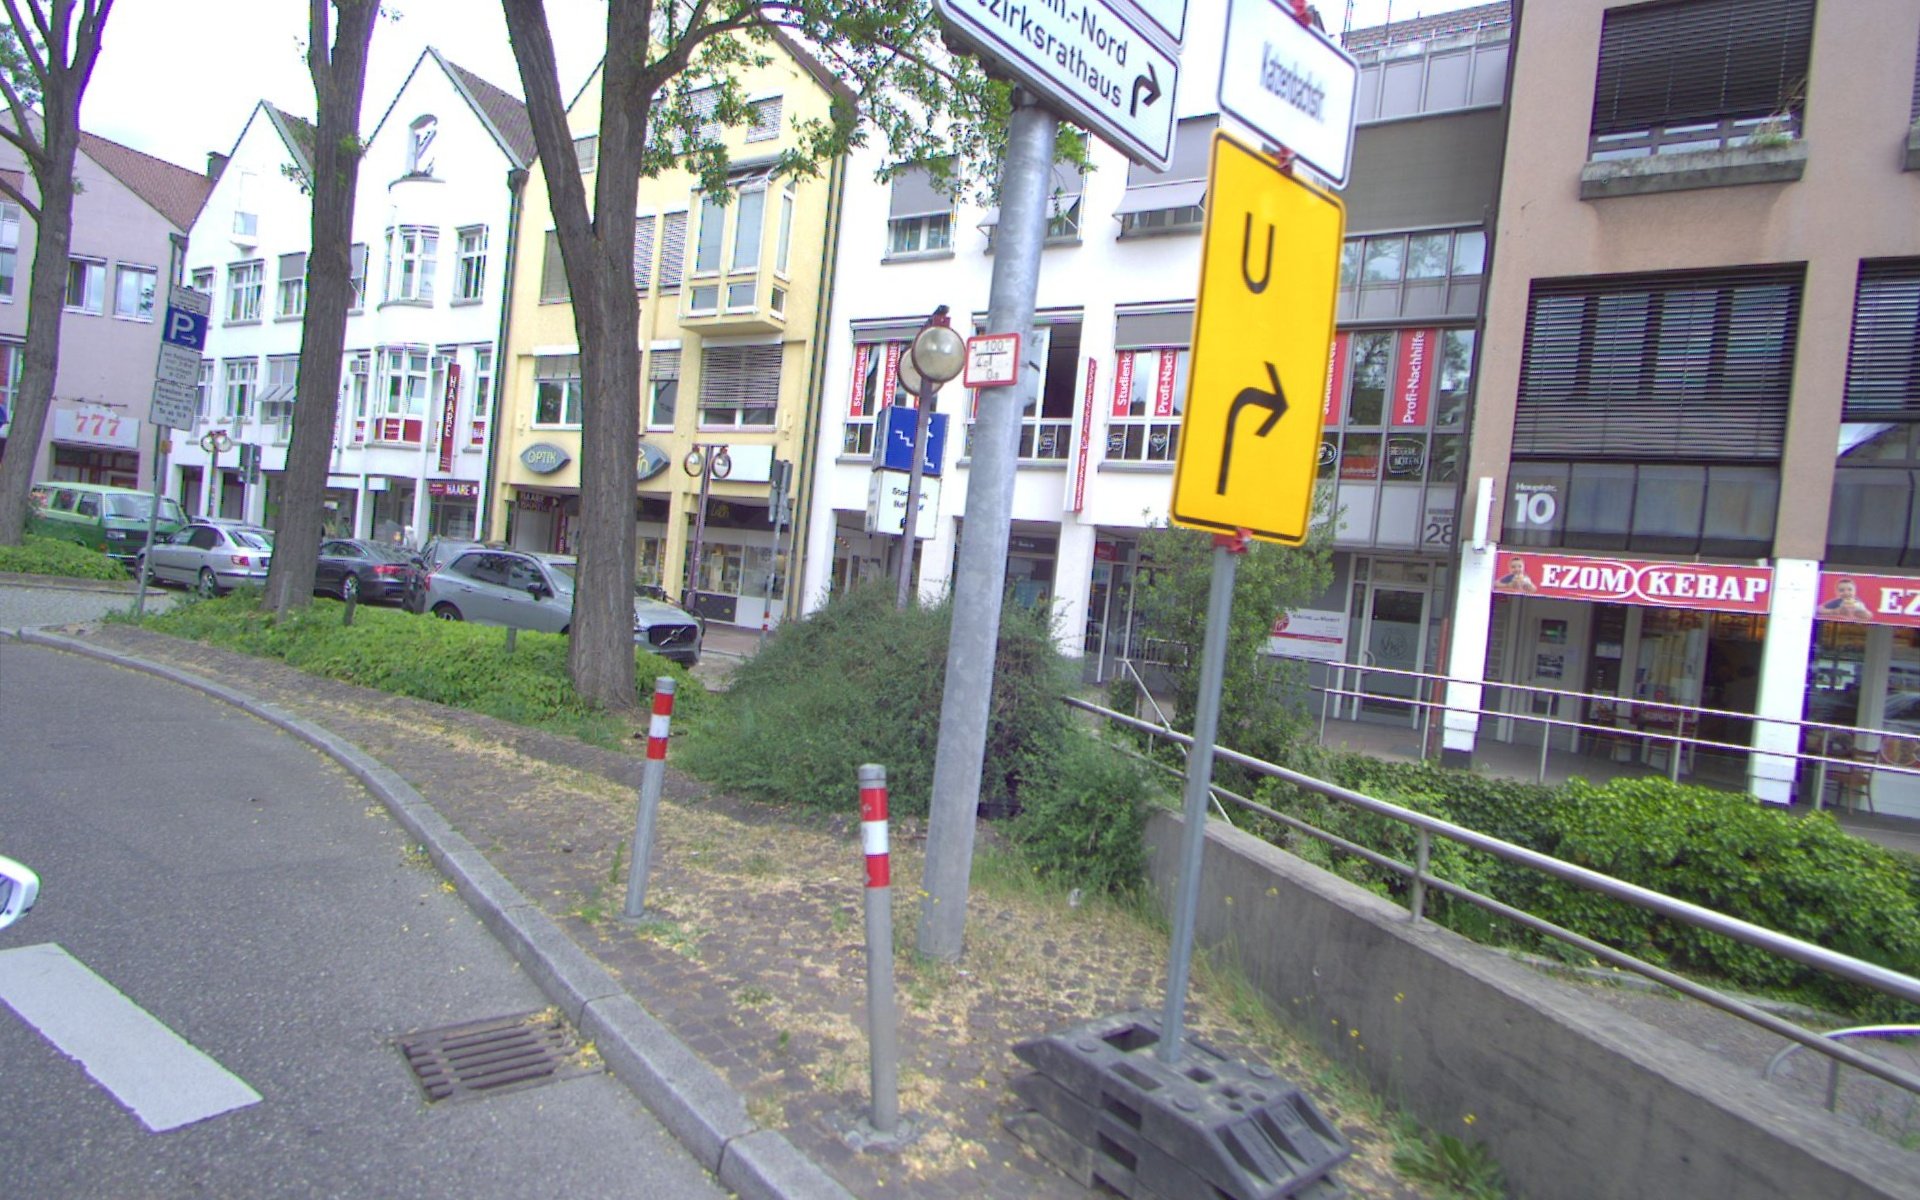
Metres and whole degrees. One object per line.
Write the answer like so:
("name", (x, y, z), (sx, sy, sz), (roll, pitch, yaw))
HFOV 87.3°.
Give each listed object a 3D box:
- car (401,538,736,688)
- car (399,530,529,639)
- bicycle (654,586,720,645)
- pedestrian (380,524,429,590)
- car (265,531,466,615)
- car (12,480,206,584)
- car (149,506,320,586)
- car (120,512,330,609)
("car", (-5.878, 0.158, 15.011), (4.681, 1.615, 1.997), (7, 0, 28))
("car", (-9.621, -0.375, 19.321), (1.838, 1.692, 4.626), (5, 1, -30))
("bicycle", (-5.622, 0.303, 20.666), (1.356, 1.058, 0.392), (7, 2, 31))
("pedestrian", (-15.192, -1.170, 27.497), (0.805, 1.682, 0.789), (7, 3, 31))
("car", (-13.595, -0.624, 22.960), (4.344, 1.394, 1.999), (7, 1, 29))
("car", (-19.557, -1.580, 23.074), (4.527, 1.901, 1.882), (7, 2, 29))
("car", (-18.399, -1.375, 25.474), (4.319, 1.562, 1.798), (7, 2, 29))
("car", (-15.077, -0.825, 20.604), (4.344, 1.468, 1.765), (7, 0, 29))
